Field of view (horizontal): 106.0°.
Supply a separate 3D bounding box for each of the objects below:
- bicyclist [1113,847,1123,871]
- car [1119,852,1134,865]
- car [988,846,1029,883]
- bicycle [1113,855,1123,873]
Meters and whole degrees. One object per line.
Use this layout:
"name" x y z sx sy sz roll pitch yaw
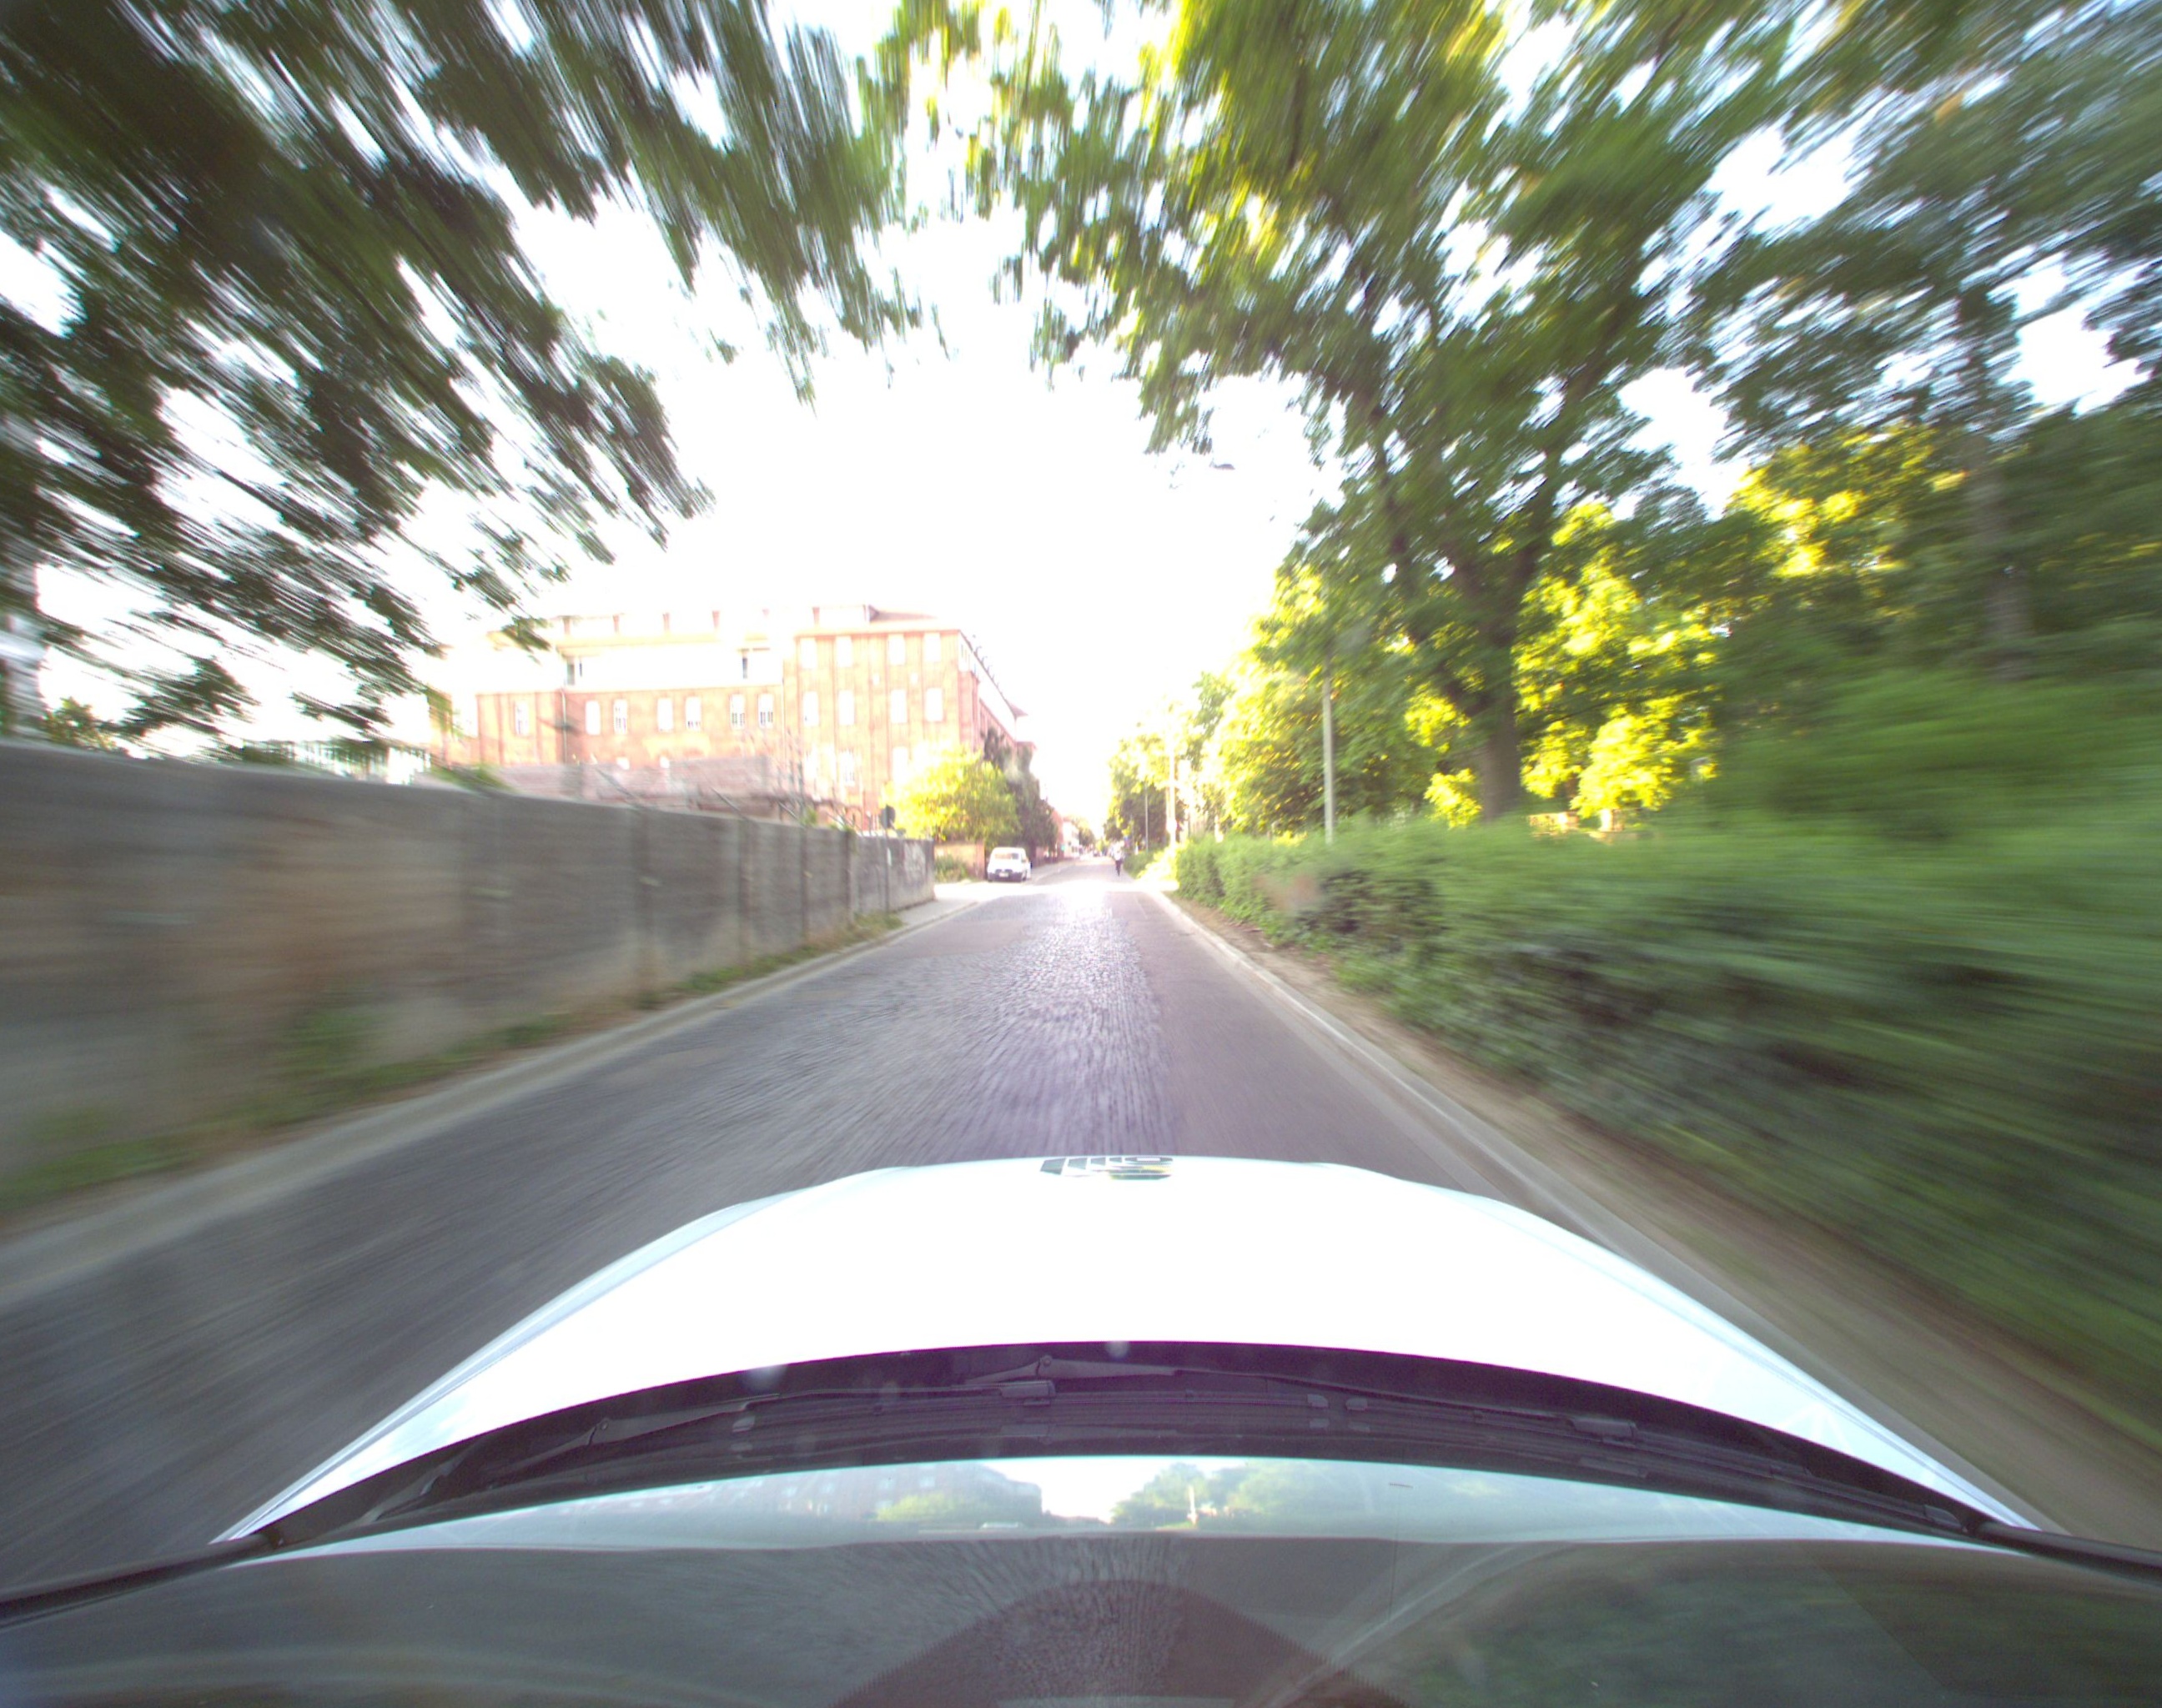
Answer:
"bicyclist" 2.610 0.380 57.552 0.637 1.667 0.842 -1 -1 0
"car" 5.922 0.569 105.981 1.680 1.447 3.671 -5 -1 0
"car" -4.096 0.617 46.641 1.876 2.014 5.224 0 -1 0
"bicycle" 2.613 0.694 57.587 0.636 1.193 1.875 -1 0 0
